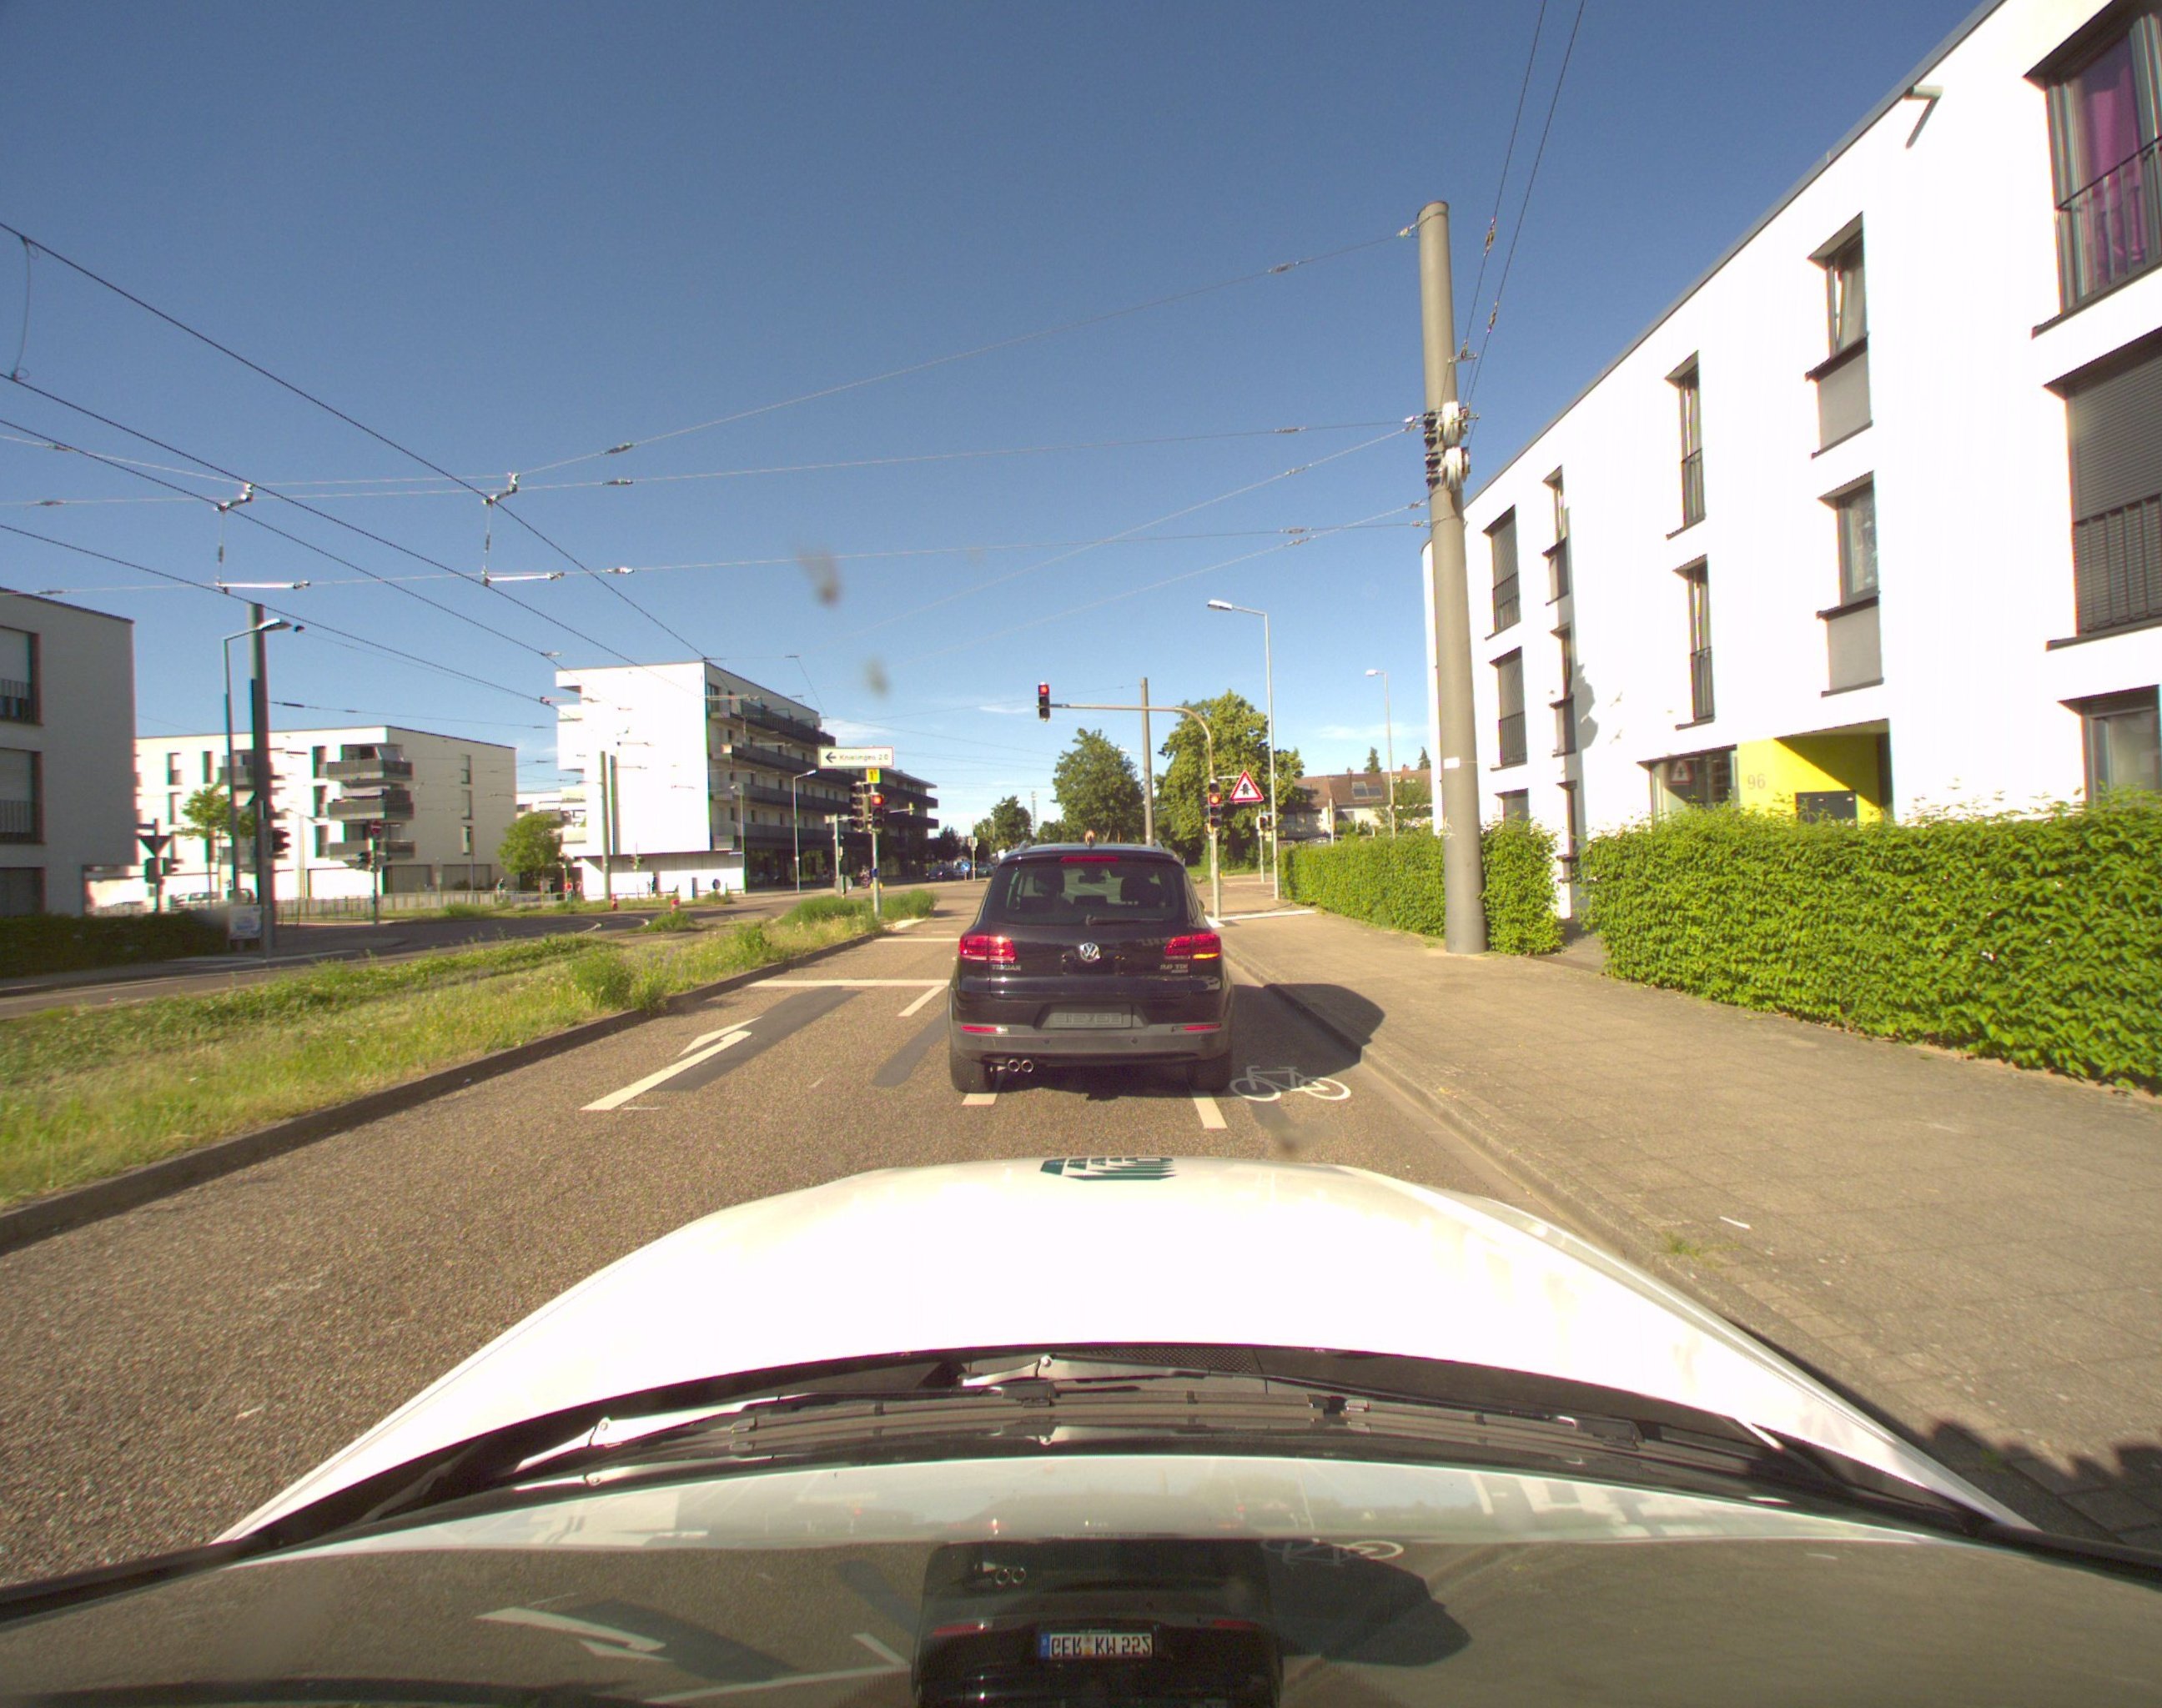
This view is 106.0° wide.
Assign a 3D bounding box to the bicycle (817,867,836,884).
[{"bbox_3d":[-20.240,1.701,64.749,0.626,1.332,1.917,-1,-1,8],"label":"bicycle"}]

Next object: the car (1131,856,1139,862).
[{"bbox_3d":[15.854,1.402,238.427,1.987,1.684,4.000,0,-1,0],"label":"car"}]

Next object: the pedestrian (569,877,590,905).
[{"bbox_3d":[-28.885,2.126,46.903,0.770,1.605,0.741,0,-1,-5],"label":"pedestrian"}]

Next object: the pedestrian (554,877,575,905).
[{"bbox_3d":[-29.724,2.132,46.858,0.770,1.605,0.741,0,-1,-5],"label":"pedestrian"}]

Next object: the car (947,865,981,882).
[{"bbox_3d":[-11.287,1.840,78.626,1.981,1.574,4.350,-1,-1,9],"label":"car"}]

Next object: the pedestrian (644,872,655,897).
[{"bbox_3d":[-30.407,2.160,57.361,0.542,1.744,0.517,0,-1,-4],"label":"pedestrian"}]

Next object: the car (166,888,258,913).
[{"bbox_3d":[-58.866,3.159,55.212,4.305,1.574,2.002,0,-1,4],"label":"car"}]

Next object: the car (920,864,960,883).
[{"bbox_3d":[-12.414,1.693,71.936,1.980,1.574,4.353,-1,-1,11],"label":"car"}]

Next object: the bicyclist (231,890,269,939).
[{"bbox_3d":[-28.629,2.058,28.071,0.632,1.614,0.790,-1,-1,32],"label":"bicyclist"}]

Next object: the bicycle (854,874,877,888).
[{"bbox_3d":[-16.527,2.058,62.433,0.766,0.989,2.438,-1,-1,9],"label":"bicycle"}]

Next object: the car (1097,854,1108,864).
[{"bbox_3d":[3.849,0.900,145.439,1.855,1.720,3.690,-2,0,4],"label":"car"}]

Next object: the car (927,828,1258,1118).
[{"bbox_3d":[0.126,0.691,6.619,1.862,1.637,4.001,0,-1,2],"label":"car"}]

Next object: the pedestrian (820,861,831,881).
[{"bbox_3d":[-20.259,1.343,64.603,0.639,1.509,0.597,-1,-1,7],"label":"pedestrian"}]

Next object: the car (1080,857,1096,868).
[{"bbox_3d":[1.090,1.267,125.494,1.852,1.485,4.121,-3,0,9],"label":"car"}]

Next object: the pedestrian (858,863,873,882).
[{"bbox_3d":[-16.538,1.429,62.500,0.707,1.474,0.956,-1,-1,9],"label":"pedestrian"}]

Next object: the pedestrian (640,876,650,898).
[{"bbox_3d":[-30.413,2.280,56.808,0.440,1.503,0.517,0,-1,-4],"label":"pedestrian"}]

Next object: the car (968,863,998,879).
[{"bbox_3d":[-10.157,1.780,84.982,1.981,1.574,4.350,-1,-1,9],"label":"car"}]

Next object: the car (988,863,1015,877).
[{"bbox_3d":[-8.887,1.758,91.387,1.981,1.574,4.350,-1,-1,9],"label":"car"}]
